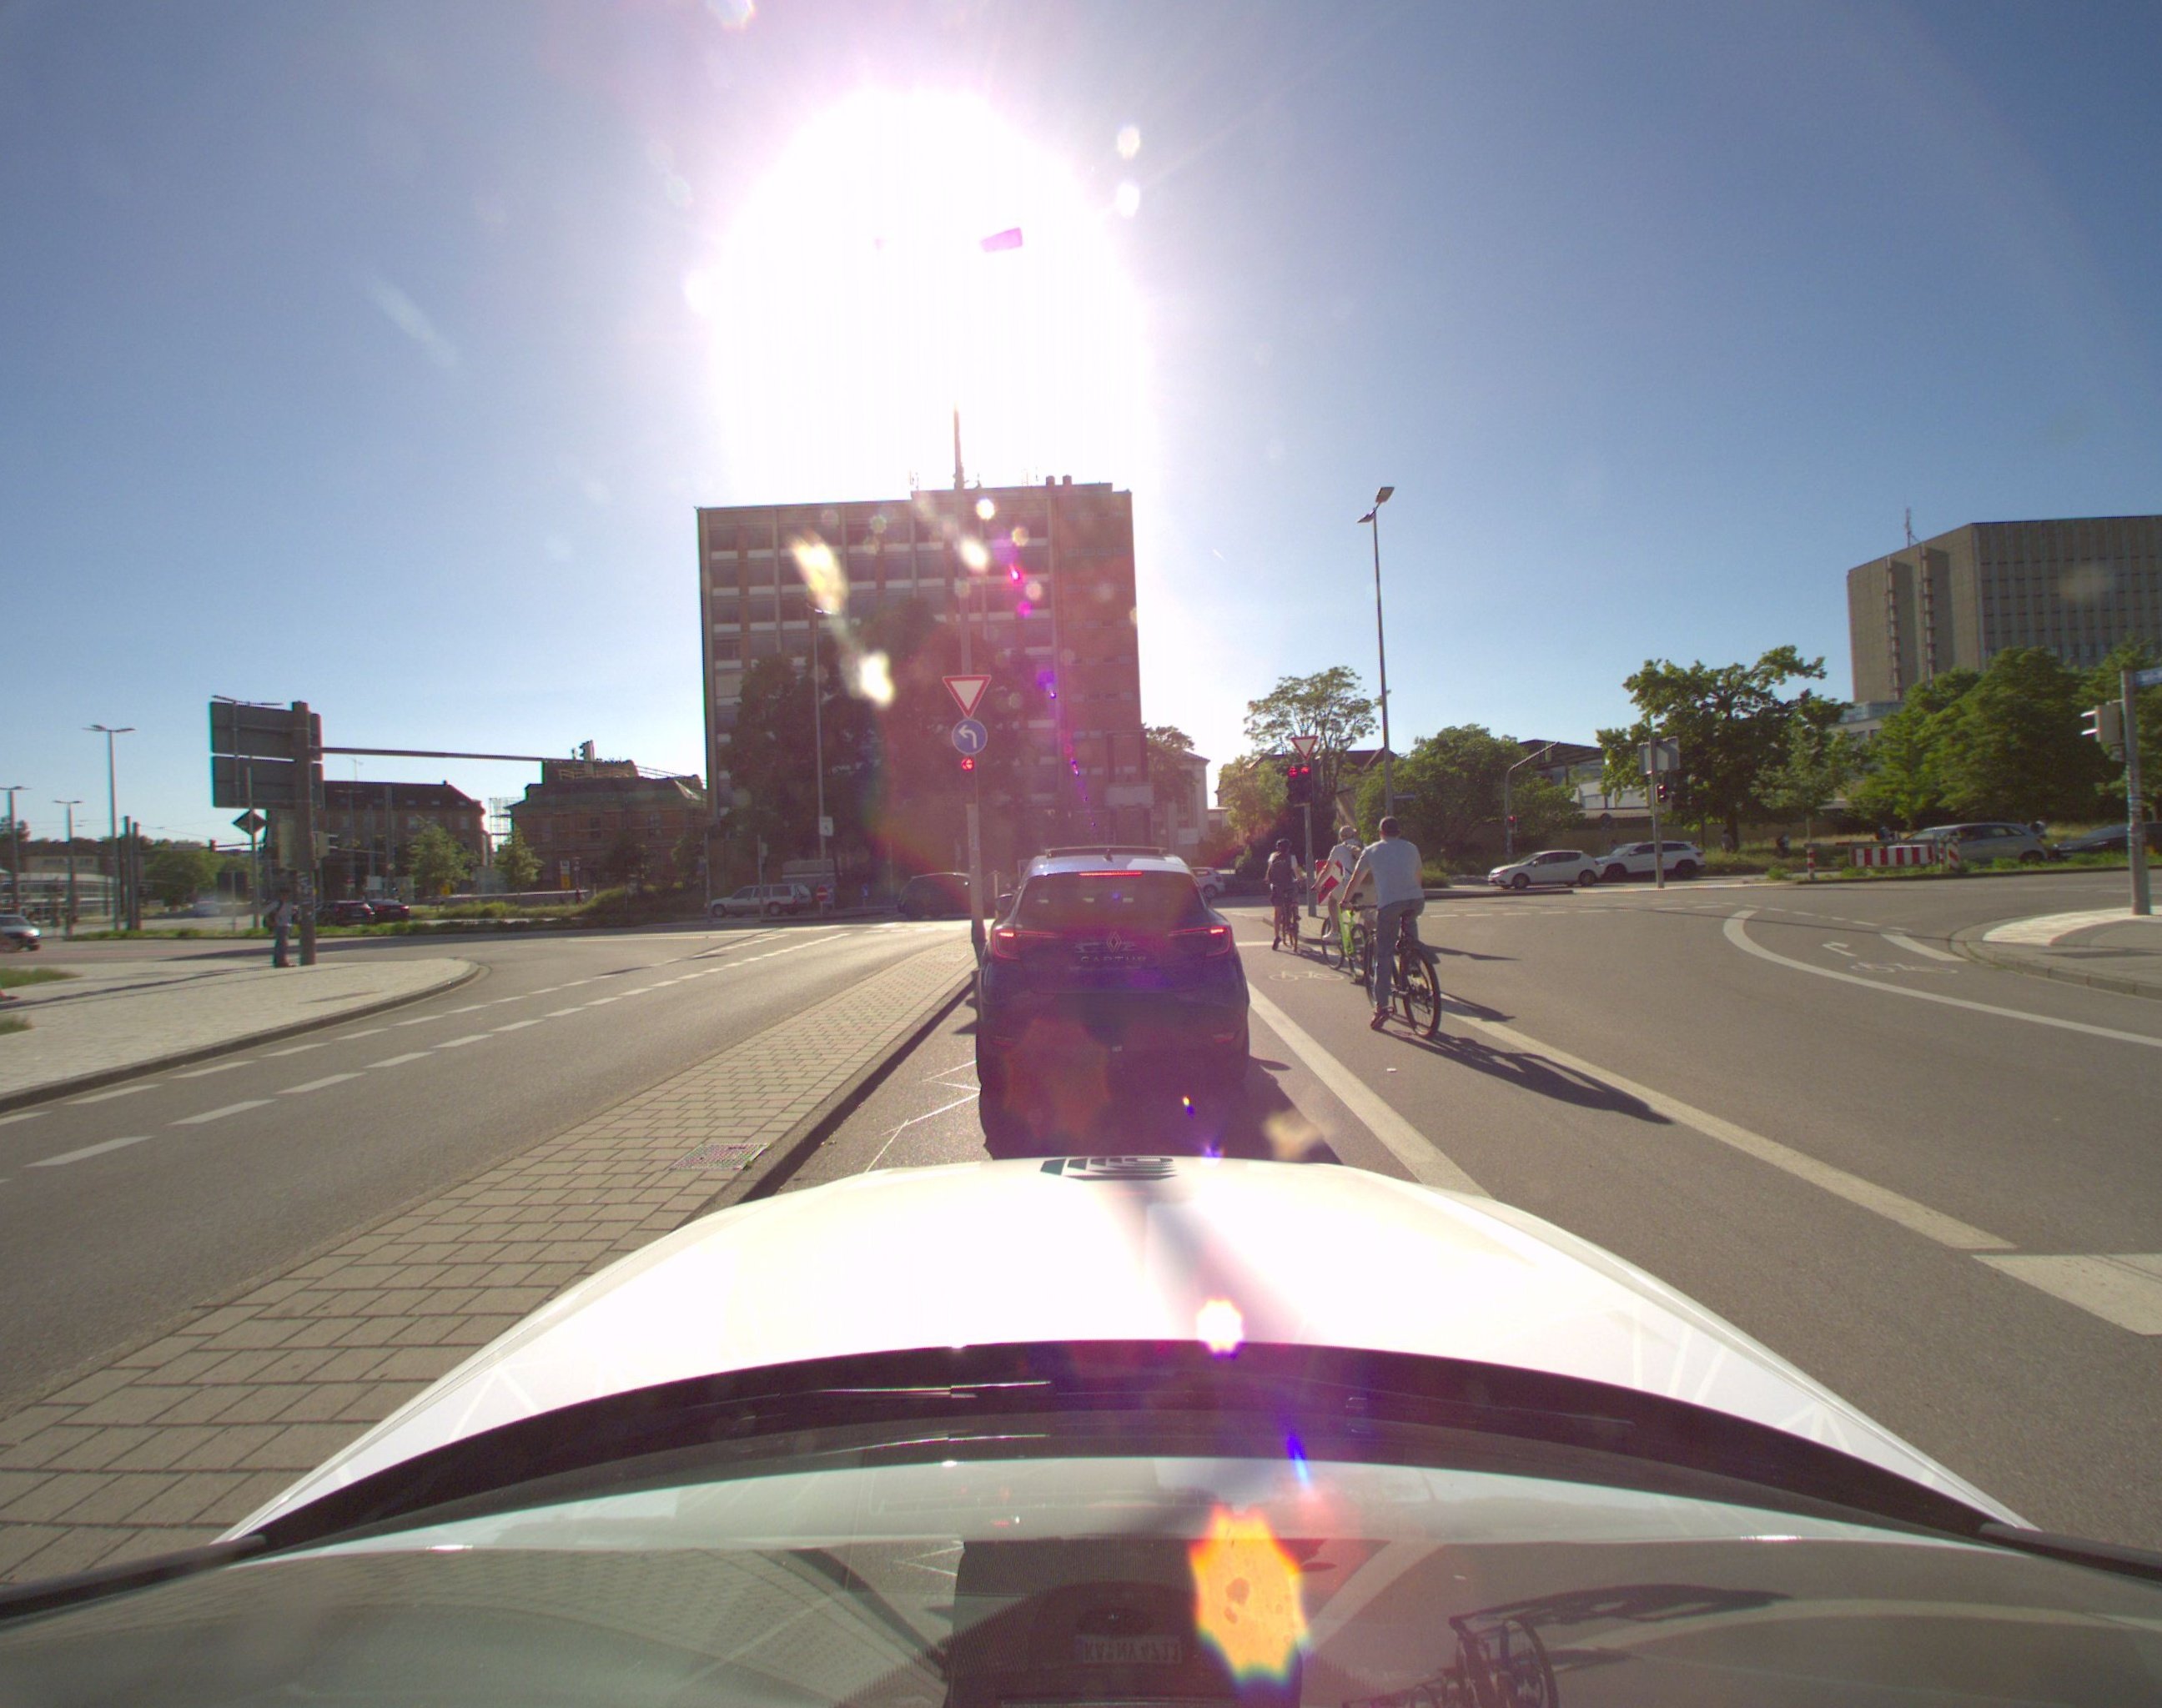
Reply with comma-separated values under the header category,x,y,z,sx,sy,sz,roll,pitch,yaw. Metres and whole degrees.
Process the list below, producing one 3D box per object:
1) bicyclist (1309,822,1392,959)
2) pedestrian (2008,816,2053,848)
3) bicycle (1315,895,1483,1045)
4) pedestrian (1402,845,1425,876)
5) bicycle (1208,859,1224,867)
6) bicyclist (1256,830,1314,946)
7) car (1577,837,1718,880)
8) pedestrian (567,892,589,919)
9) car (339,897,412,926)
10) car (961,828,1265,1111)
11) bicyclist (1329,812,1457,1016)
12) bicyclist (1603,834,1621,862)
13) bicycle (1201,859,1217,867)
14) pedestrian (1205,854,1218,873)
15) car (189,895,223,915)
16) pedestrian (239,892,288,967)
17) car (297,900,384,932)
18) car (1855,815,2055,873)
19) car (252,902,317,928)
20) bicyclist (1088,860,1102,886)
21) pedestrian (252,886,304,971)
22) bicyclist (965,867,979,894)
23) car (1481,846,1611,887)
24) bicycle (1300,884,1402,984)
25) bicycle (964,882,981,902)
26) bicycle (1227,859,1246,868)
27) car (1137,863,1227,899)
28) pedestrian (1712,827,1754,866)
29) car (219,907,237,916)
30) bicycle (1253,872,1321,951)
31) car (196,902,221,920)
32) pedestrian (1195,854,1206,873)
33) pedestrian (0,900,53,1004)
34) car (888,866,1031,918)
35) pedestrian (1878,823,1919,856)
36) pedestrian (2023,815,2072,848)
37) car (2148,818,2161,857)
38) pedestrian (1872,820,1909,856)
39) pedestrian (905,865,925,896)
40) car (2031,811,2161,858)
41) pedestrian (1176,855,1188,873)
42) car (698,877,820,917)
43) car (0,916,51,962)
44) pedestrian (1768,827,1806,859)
category,x,y,z,sx,sy,sz,roll,pitch,yaw
bicyclist,3.265,0.421,9.955,0.672,1.583,1.081,0,0,1
pedestrian,46.761,-1.084,40.120,1.138,1.521,0.880,-2,-1,5
bicycle,2.757,0.954,7.317,0.745,1.050,1.903,-3,0,1
pedestrian,17.775,0.339,43.526,0.974,1.604,0.830,-3,-1,15
bicycle,15.707,1.059,94.646,1.764,0.898,0.766,-2,-1,2
bicyclist,3.258,0.530,13.068,0.674,1.785,0.939,-1,-1,0
car,24.006,0.186,34.646,4.478,1.606,2.004,-2,0,7
pedestrian,-37.843,3.866,61.271,0.815,2.013,1.021,-3,-1,30
car,-42.384,3.455,48.912,3.771,1.518,2.012,-3,-1,27
car,0.222,0.686,6.773,1.788,1.655,3.853,-1,0,1
bicyclist,2.738,0.503,7.230,0.737,1.674,0.865,-2,-1,0
bicyclist,26.143,-0.298,40.069,0.517,1.368,0.578,-2,-1,12
bicycle,15.563,1.114,99.016,1.764,0.893,0.766,-2,-1,2
pedestrian,13.806,1.006,86.142,1.152,2.013,1.165,-2,-1,2
car,-120.486,6.983,112.220,6.870,2.547,3.031,-3,-1,44
pedestrian,-19.259,1.757,19.188,0.627,1.697,0.608,-3,-1,25
car,-40.496,3.383,44.527,3.953,1.570,1.845,-3,-1,20
car,27.999,-0.297,26.226,4.103,1.606,1.915,-2,0,7
car,-53.577,4.090,54.762,3.771,1.518,2.012,-3,-1,27
bicyclist,0.794,1.045,45.353,0.633,1.412,0.650,-2,-1,7
pedestrian,-18.162,1.671,18.421,0.673,1.855,0.608,-3,-1,25
bicyclist,-5.921,1.426,44.256,0.648,1.412,0.635,-2,-3,-14
car,18.312,0.525,32.268,3.973,1.361,2.004,-3,-2,8
bicycle,3.268,0.929,10.035,0.669,1.050,1.844,0,0,1
bicycle,-5.866,2.093,44.127,0.699,1.007,1.859,-3,-3,-13
bicycle,15.815,0.950,82.834,1.770,0.823,0.763,-2,-1,-9
car,4.752,1.265,38.070,3.926,1.491,1.818,-3,-2,14
pedestrian,32.656,-0.367,40.802,1.288,1.855,0.969,-3,-1,13
car,-155.794,10.450,148.720,2.078,1.439,4.007,-2,-1,-44
bicycle,3.263,0.882,13.078,0.613,1.138,1.826,-2,0,0
car,-109.650,7.141,102.379,4.952,2.013,2.085,-3,-1,43
pedestrian,13.778,1.087,93.583,1.144,2.013,0.954,-3,-1,8
pedestrian,-18.646,1.689,13.900,0.834,1.705,1.023,-2,-1,-3
car,-3.855,1.202,26.133,3.959,1.389,2.007,-4,-1,13
pedestrian,39.882,-0.694,39.743,1.069,1.521,0.880,-2,-1,6
pedestrian,46.682,-1.093,39.336,1.123,1.521,0.992,-2,-1,5
car,46.400,-0.768,32.787,4.052,1.606,1.925,-2,0,4
pedestrian,40.507,-0.792,40.770,0.955,1.732,0.930,-3,-1,17
pedestrian,-10.215,1.621,50.107,0.926,1.855,0.809,-3,-1,11
car,38.420,-0.732,30.057,4.106,1.606,2.003,-2,0,5
pedestrian,11.392,1.092,91.819,1.144,2.013,0.954,-3,-1,8
car,-14.786,1.977,37.538,4.835,1.593,1.943,-3,-1,8
car,-46.440,3.656,34.790,3.951,1.790,2.011,-3,-1,23
pedestrian,35.501,-0.536,40.953,1.078,1.521,0.933,-2,-1,11
